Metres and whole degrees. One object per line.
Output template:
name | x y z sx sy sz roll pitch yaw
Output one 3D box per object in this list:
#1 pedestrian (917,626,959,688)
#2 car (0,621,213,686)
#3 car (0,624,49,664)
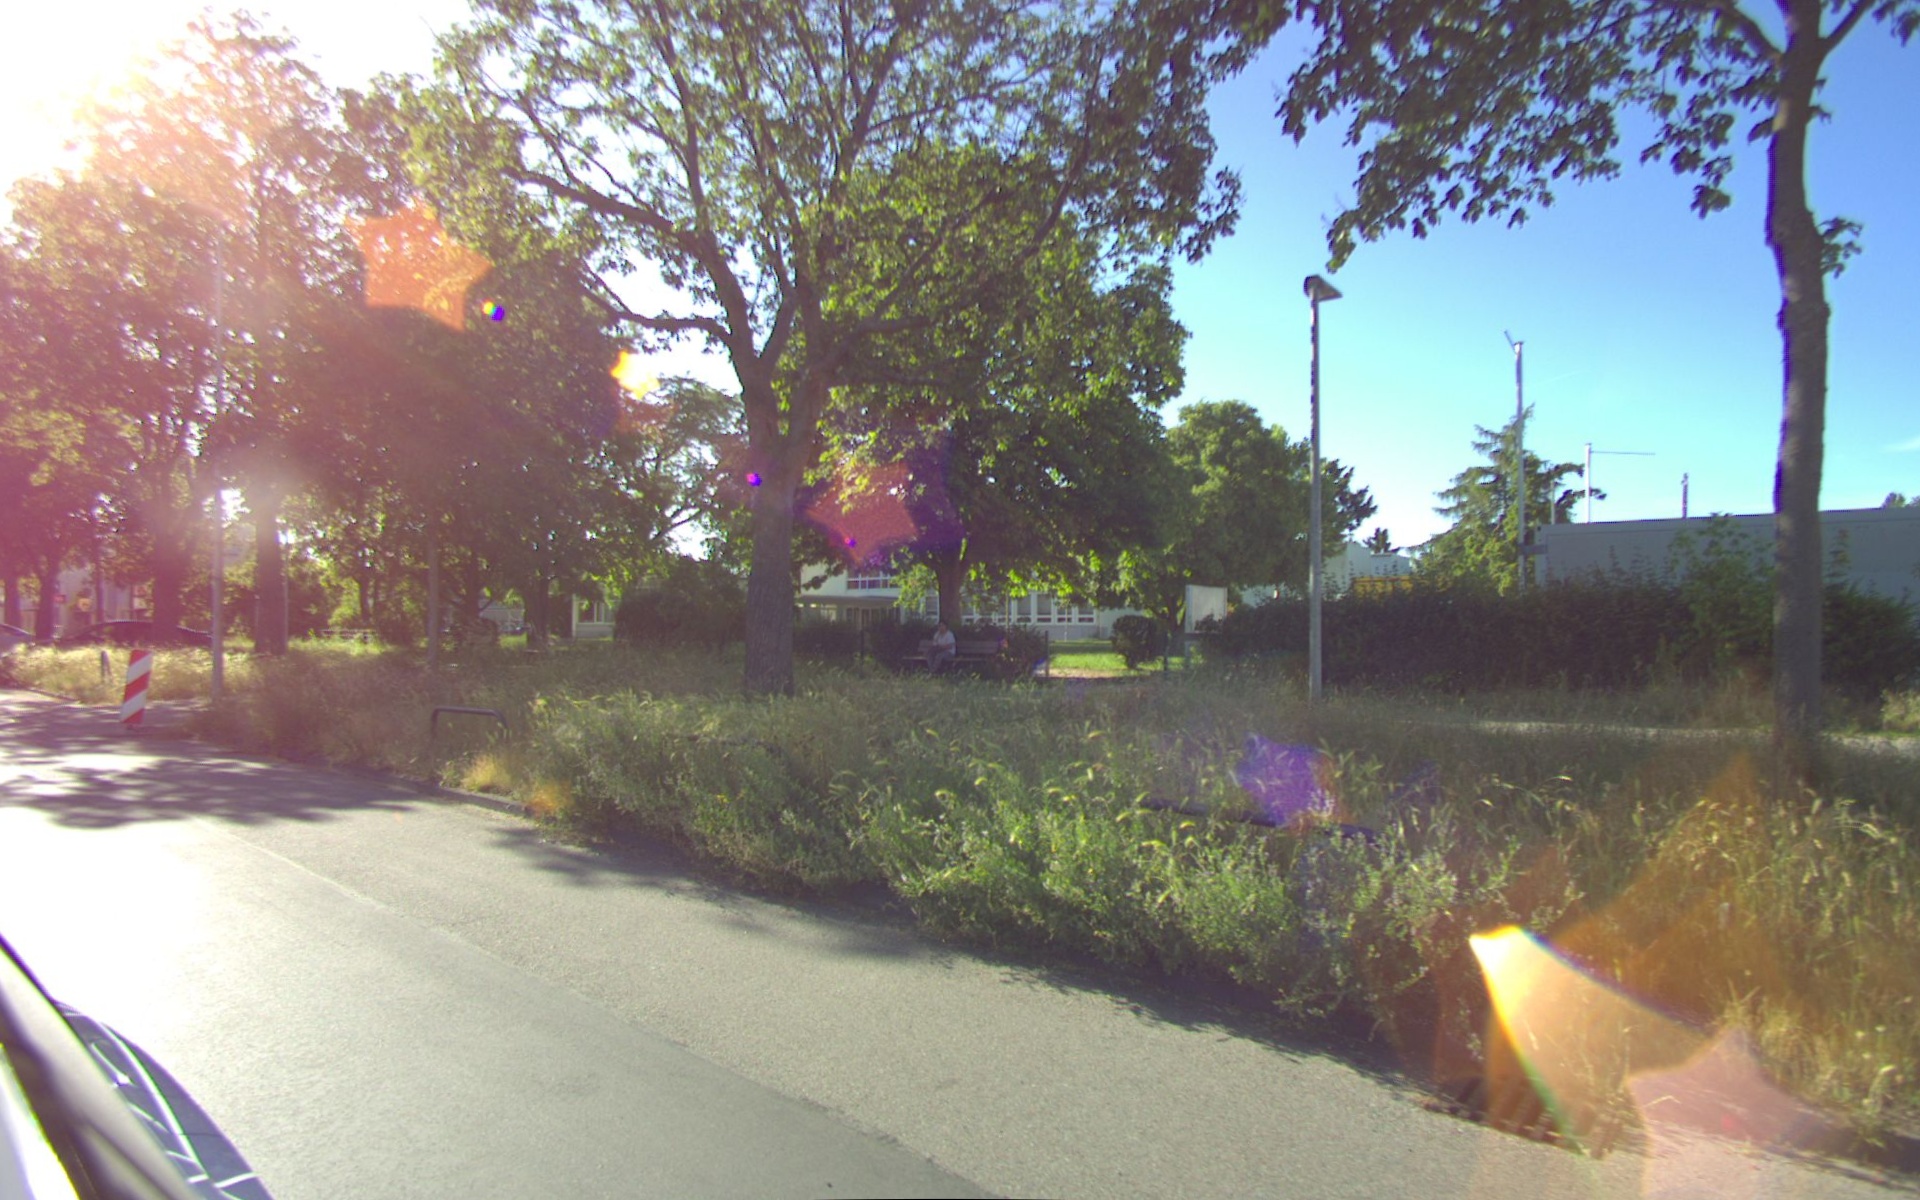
pedestrian | -0.424 1.111 19.947 0.521 1.166 0.632 -1 1 38
car | -23.764 1.411 28.076 1.998 1.573 4.557 -1 -1 40
car | -39.394 1.798 40.508 1.998 1.573 4.151 -1 -1 40
